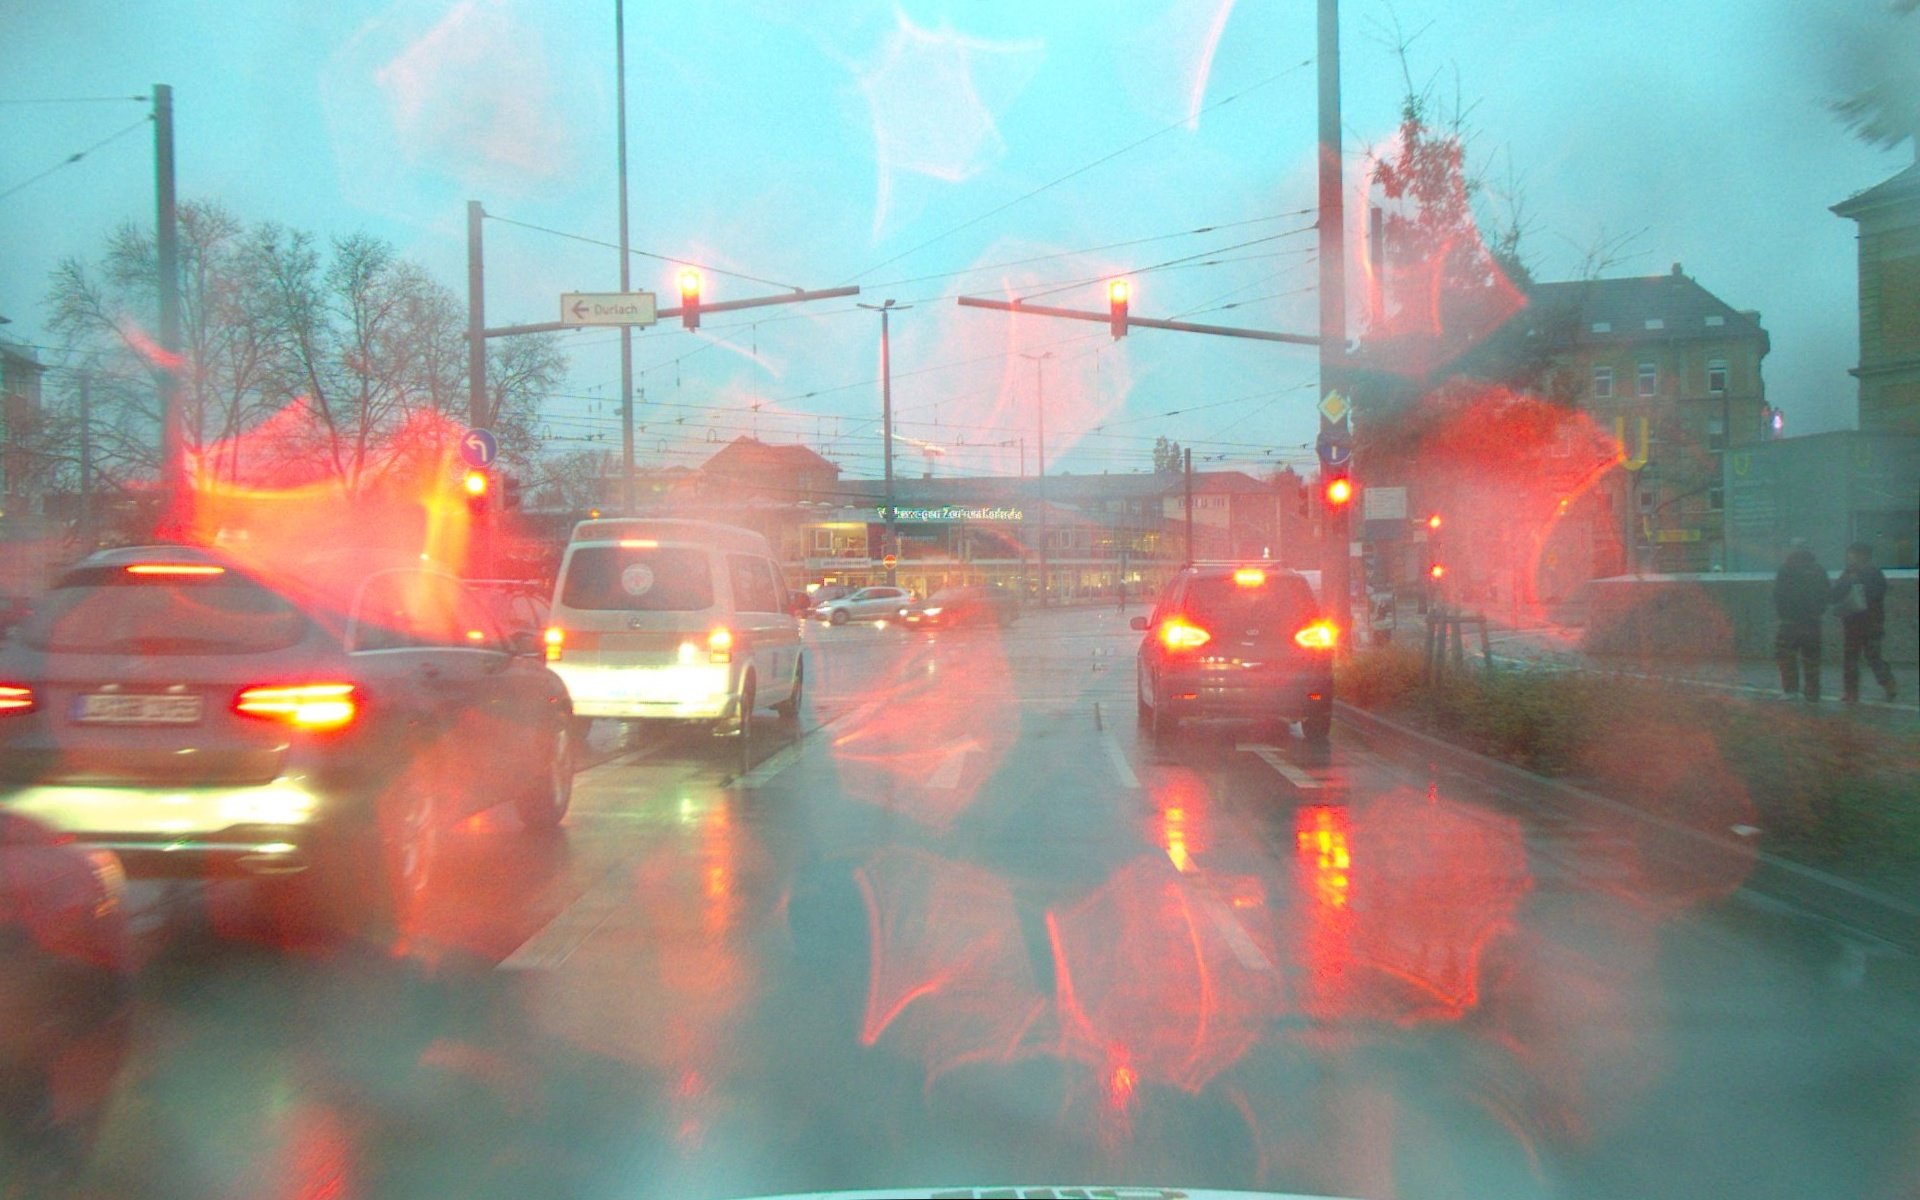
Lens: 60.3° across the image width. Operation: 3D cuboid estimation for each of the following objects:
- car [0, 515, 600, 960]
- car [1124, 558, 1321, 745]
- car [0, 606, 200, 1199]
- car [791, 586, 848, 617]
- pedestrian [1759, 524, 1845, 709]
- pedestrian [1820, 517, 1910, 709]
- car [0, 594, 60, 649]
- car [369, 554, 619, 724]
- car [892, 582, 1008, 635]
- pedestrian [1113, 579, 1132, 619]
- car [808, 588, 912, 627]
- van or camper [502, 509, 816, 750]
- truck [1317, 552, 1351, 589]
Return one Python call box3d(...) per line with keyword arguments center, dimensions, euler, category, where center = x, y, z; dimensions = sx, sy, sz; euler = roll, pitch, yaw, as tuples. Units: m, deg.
box3d(center=(-3.208, 0.500, 8.432), dimensions=(1.749, 1.628, 4.541), euler=(1, 0, -1), category="car")
box3d(center=(2.796, 0.477, 18.446), dimensions=(1.740, 1.831, 4.427), euler=(0, 1, 3), category="car")
box3d(center=(-2.813, 0.734, 2.490), dimensions=(1.626, 1.428, 4.117), euler=(1, 0, -4), category="car")
box3d(center=(-6.921, 0.042, 81.905), dimensions=(1.774, 1.472, 4.004), euler=(-1, 0, 10), category="car")
box3d(center=(9.192, 0.155, 18.080), dimensions=(0.791, 1.963, 0.760), euler=(1, 3, 26), category="pedestrian")
box3d(center=(9.885, 0.116, 18.097), dimensions=(0.791, 2.048, 0.760), euler=(1, 3, 26), category="pedestrian")
box3d(center=(-33.157, 0.768, 56.448), dimensions=(3.925, 1.803, 1.990), euler=(-2, 0, -18), category="car")
box3d(center=(-5.400, 0.404, 19.708), dimensions=(1.846, 1.803, 4.000), euler=(0, 0, 0), category="car")
box3d(center=(-0.289, 0.262, 54.381), dimensions=(1.958, 1.630, 3.989), euler=(-1, 0, 33), category="car")
box3d(center=(7.836, -0.045, 79.697), dimensions=(0.585, 1.872, 0.612), euler=(-2, 0, -33), category="pedestrian")
box3d(center=(-3.910, 0.268, 64.654), dimensions=(3.741, 1.390, 1.844), euler=(-2, 0, -15), category="car")
box3d(center=(-2.915, 0.253, 17.306), dimensions=(2.156, 2.146, 4.989), euler=(0, 0, 3), category="van or camper")
box3d(center=(28.222, -2.200, 124.625), dimensions=(1.952, 2.738, 5.117), euler=(-1, 0, 18), category="truck")
